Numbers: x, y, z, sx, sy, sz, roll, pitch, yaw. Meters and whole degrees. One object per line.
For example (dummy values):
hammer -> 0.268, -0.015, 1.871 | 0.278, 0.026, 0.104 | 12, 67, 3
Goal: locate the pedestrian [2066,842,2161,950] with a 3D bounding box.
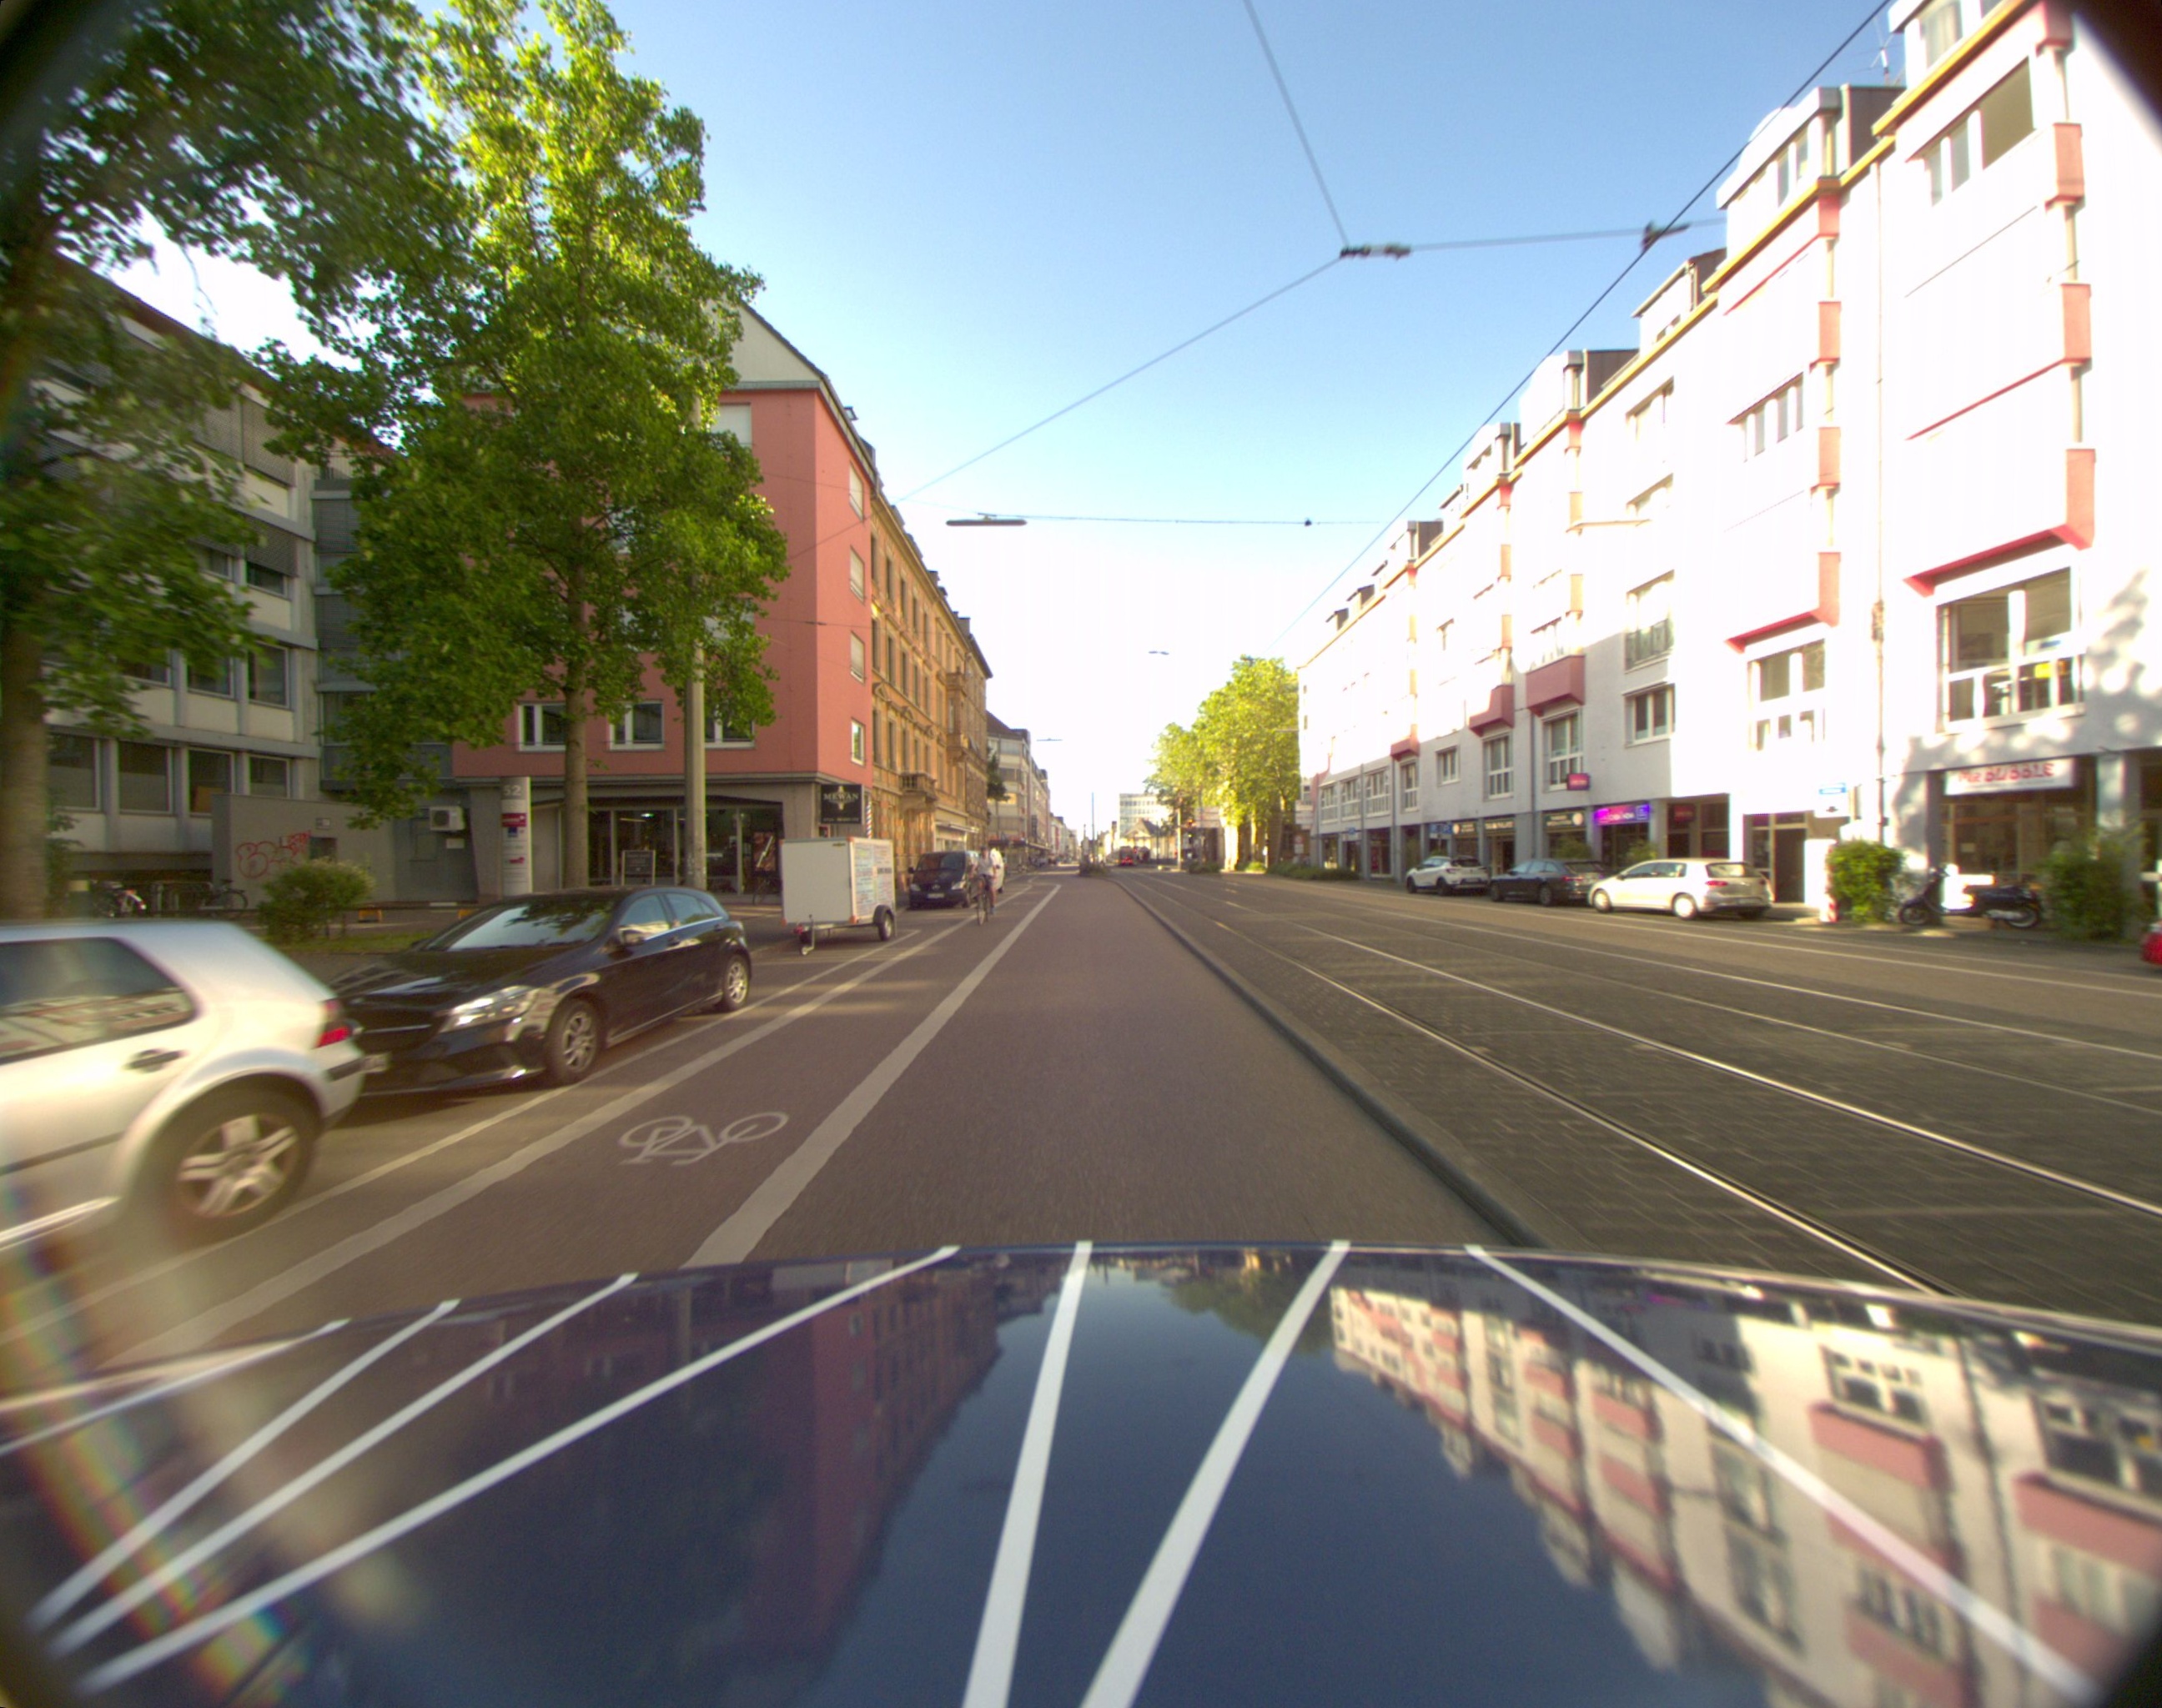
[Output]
pedestrian -> 18.353, 0.731, 13.476 | 0.822, 1.832, 0.717 | -3, 0, -9

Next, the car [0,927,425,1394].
car -> -4.616, 1.140, 1.993 | 1.753, 1.434, 4.316 | -2, 0, 5

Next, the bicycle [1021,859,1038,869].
bicycle -> -5.937, 1.167, 87.769 | 1.951, 1.100, 0.564 | -1, 0, -1

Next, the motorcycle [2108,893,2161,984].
motorcycle -> 16.266, 1.267, 10.782 | 0.520, 1.290, 2.082 | -3, 0, 0

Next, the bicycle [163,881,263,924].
bicycle -> -20.051, 1.113, 17.580 | 1.588, 0.957, 0.449 | 1, 0, -10

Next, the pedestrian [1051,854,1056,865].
pedestrian -> -4.536, 0.919, 124.122 | 0.669, 1.718, 0.810 | 2, 1, 0

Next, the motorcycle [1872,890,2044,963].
motorcycle -> 16.395, 1.309, 14.289 | 0.462, 1.187, 2.079 | -3, 0, -17

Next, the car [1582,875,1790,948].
car -> 14.823, 1.327, 18.970 | 1.756, 1.466, 4.206 | -1, 0, -2

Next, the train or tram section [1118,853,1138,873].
train or tram section -> 9.084, 1.659, 148.596 | 2.981, 3.623, 13.944 | -3, 0, 1

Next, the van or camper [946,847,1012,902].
van or camper -> -4.188, 0.761, 32.014 | 1.936, 2.025, 5.474 | -2, 1, 0

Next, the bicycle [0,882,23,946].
bicycle -> -19.908, 1.060, 13.443 | 1.588, 1.108, 0.449 | 1, 0, -5

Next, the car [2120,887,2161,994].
car -> 14.660, 1.069, 7.577 | 1.965, 1.317, 4.820 | -3, 0, 0

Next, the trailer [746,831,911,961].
trailer -> -4.653, 0.689, 14.607 | 1.665, 2.104, 3.843 | -3, 0, 2

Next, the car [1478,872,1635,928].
car -> 14.761, 1.359, 23.966 | 1.906, 1.449, 4.826 | -1, 0, 0

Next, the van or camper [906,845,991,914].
van or camper -> -4.379, 0.769, 26.001 | 1.976, 2.034, 5.330 | -3, 0, -1

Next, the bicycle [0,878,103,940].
bicycle -> -19.752, 1.037, 14.523 | 1.587, 1.118, 0.449 | 1, 0, 2

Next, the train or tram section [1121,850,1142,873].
train or tram section -> 8.659, 1.321, 133.264 | 2.981, 3.622, 16.489 | -3, -1, 2

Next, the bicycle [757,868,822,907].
bicycle -> -9.039, 1.022, 23.621 | 0.426, 1.126, 1.885 | 0, 0, 42

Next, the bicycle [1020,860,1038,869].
bicycle -> -5.895, 1.183, 85.739 | 1.951, 1.100, 0.564 | -1, 0, -1

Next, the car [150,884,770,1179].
car -> -4.518, 1.129, 6.622 | 1.807, 1.427, 4.323 | -3, 0, -1

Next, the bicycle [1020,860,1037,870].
bicycle -> -5.870, 1.186, 85.091 | 1.951, 1.100, 0.564 | -1, 0, -1

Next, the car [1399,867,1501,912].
car -> 15.048, 1.399, 31.271 | 1.922, 1.604, 4.369 | -1, 0, -2

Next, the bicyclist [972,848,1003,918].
bicyclist -> -2.286, 0.691, 18.585 | 0.657, 1.646, 0.927 | -2, 1, -4

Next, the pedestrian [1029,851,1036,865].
pedestrian -> -6.113, 0.479, 96.764 | 0.746, 1.717, 0.814 | -3, 1, 1

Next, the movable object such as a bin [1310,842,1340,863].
movable object such as a bin -> 23.969, -0.143, 74.674 | 2.644, 2.002, 1.177 | -1, 0, 24

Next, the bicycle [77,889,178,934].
bicycle -> -19.766, 1.184, 15.753 | 1.587, 0.871, 0.449 | 1, 0, 2

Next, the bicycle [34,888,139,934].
bicycle -> -19.865, 1.134, 15.190 | 1.587, 0.871, 0.449 | 1, 0, 2

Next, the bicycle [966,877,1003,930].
bicycle -> -2.299, 1.154, 18.386 | 0.649, 1.132, 2.095 | -1, 0, -1
